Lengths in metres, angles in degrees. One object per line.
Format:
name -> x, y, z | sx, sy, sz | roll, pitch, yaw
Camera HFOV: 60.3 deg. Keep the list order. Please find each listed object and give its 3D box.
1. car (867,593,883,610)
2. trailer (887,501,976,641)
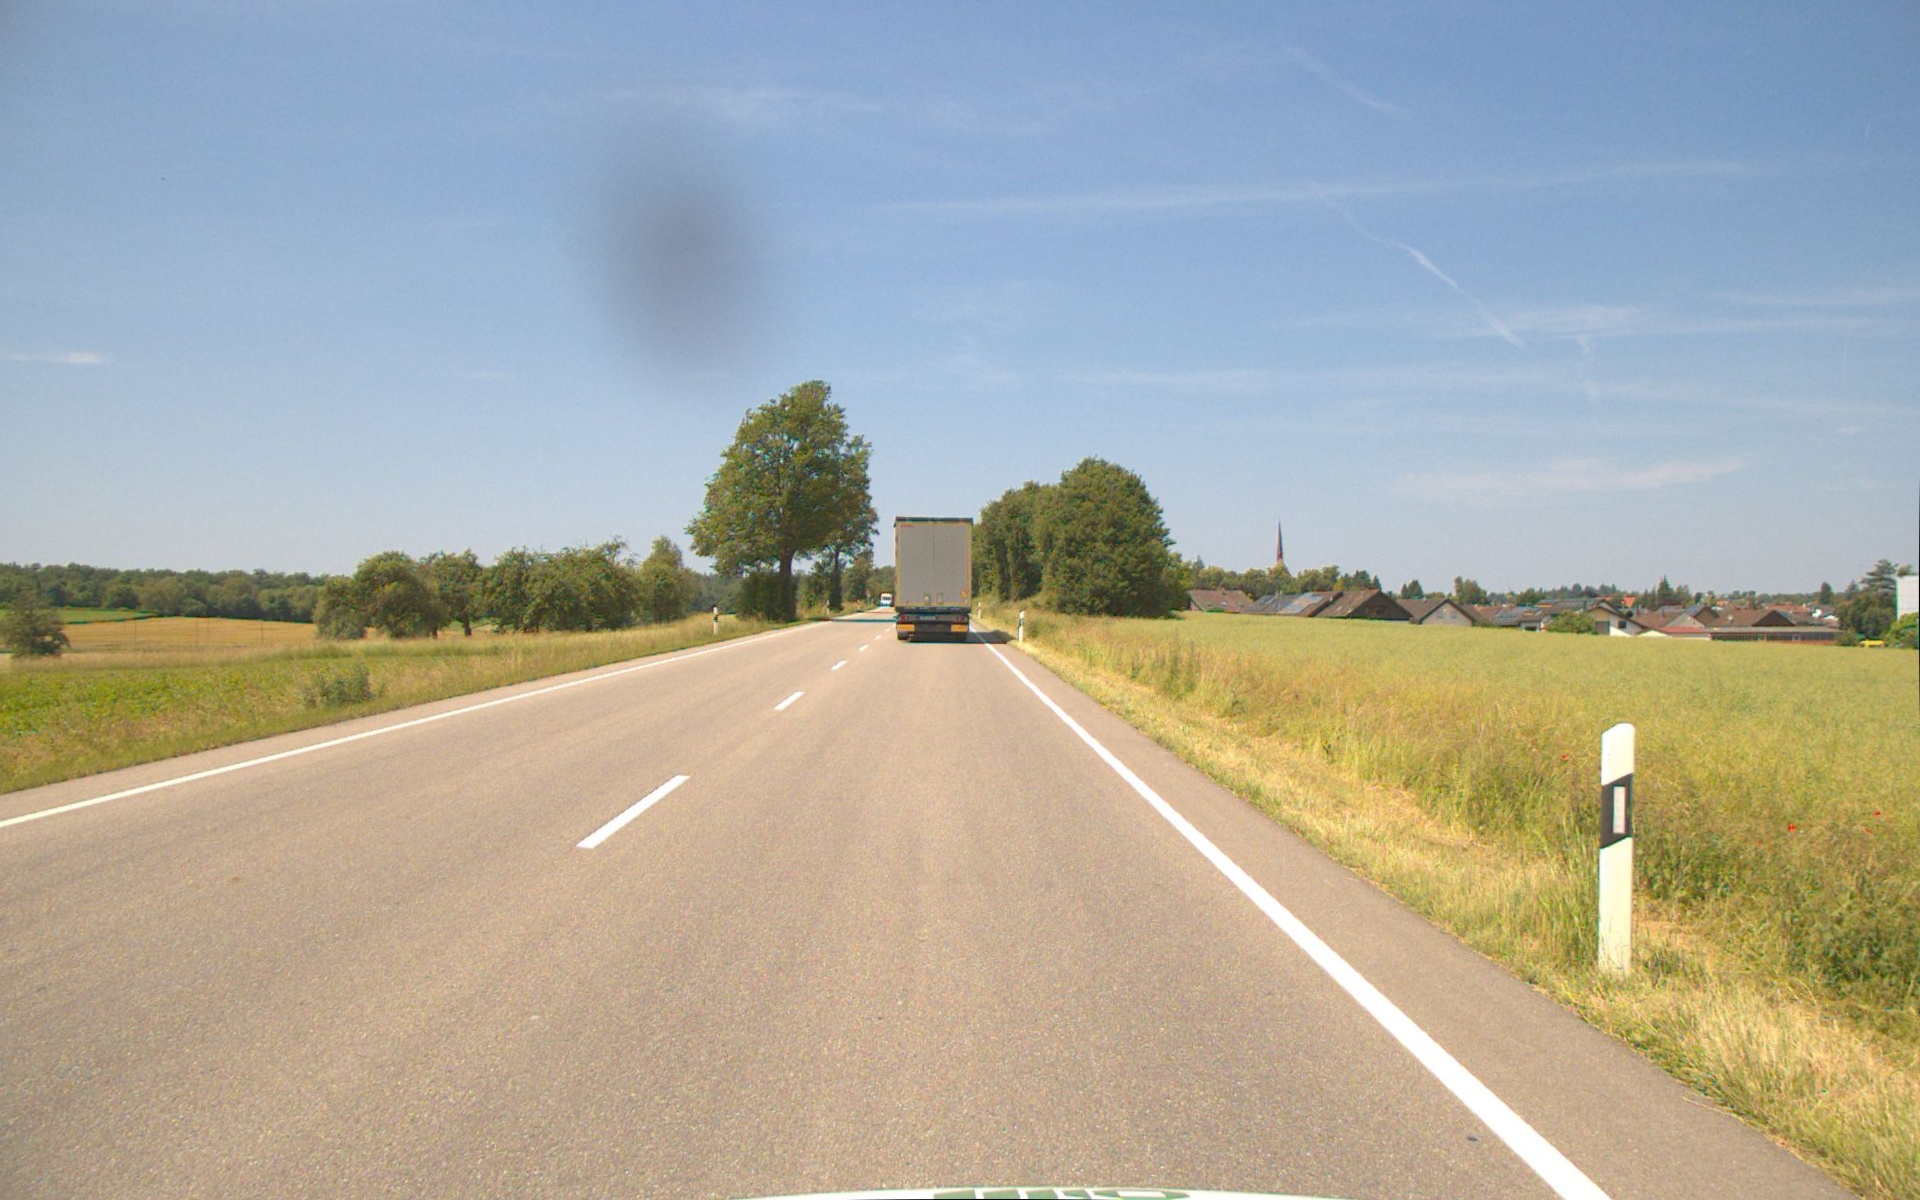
car -> -10.565, 0.129, 206.415 | 1.836, 2.049, 4.072 | 2, 0, -2
trailer -> -1.082, -0.940, 59.744 | 2.809, 4.477, 13.489 | 0, 0, -1
